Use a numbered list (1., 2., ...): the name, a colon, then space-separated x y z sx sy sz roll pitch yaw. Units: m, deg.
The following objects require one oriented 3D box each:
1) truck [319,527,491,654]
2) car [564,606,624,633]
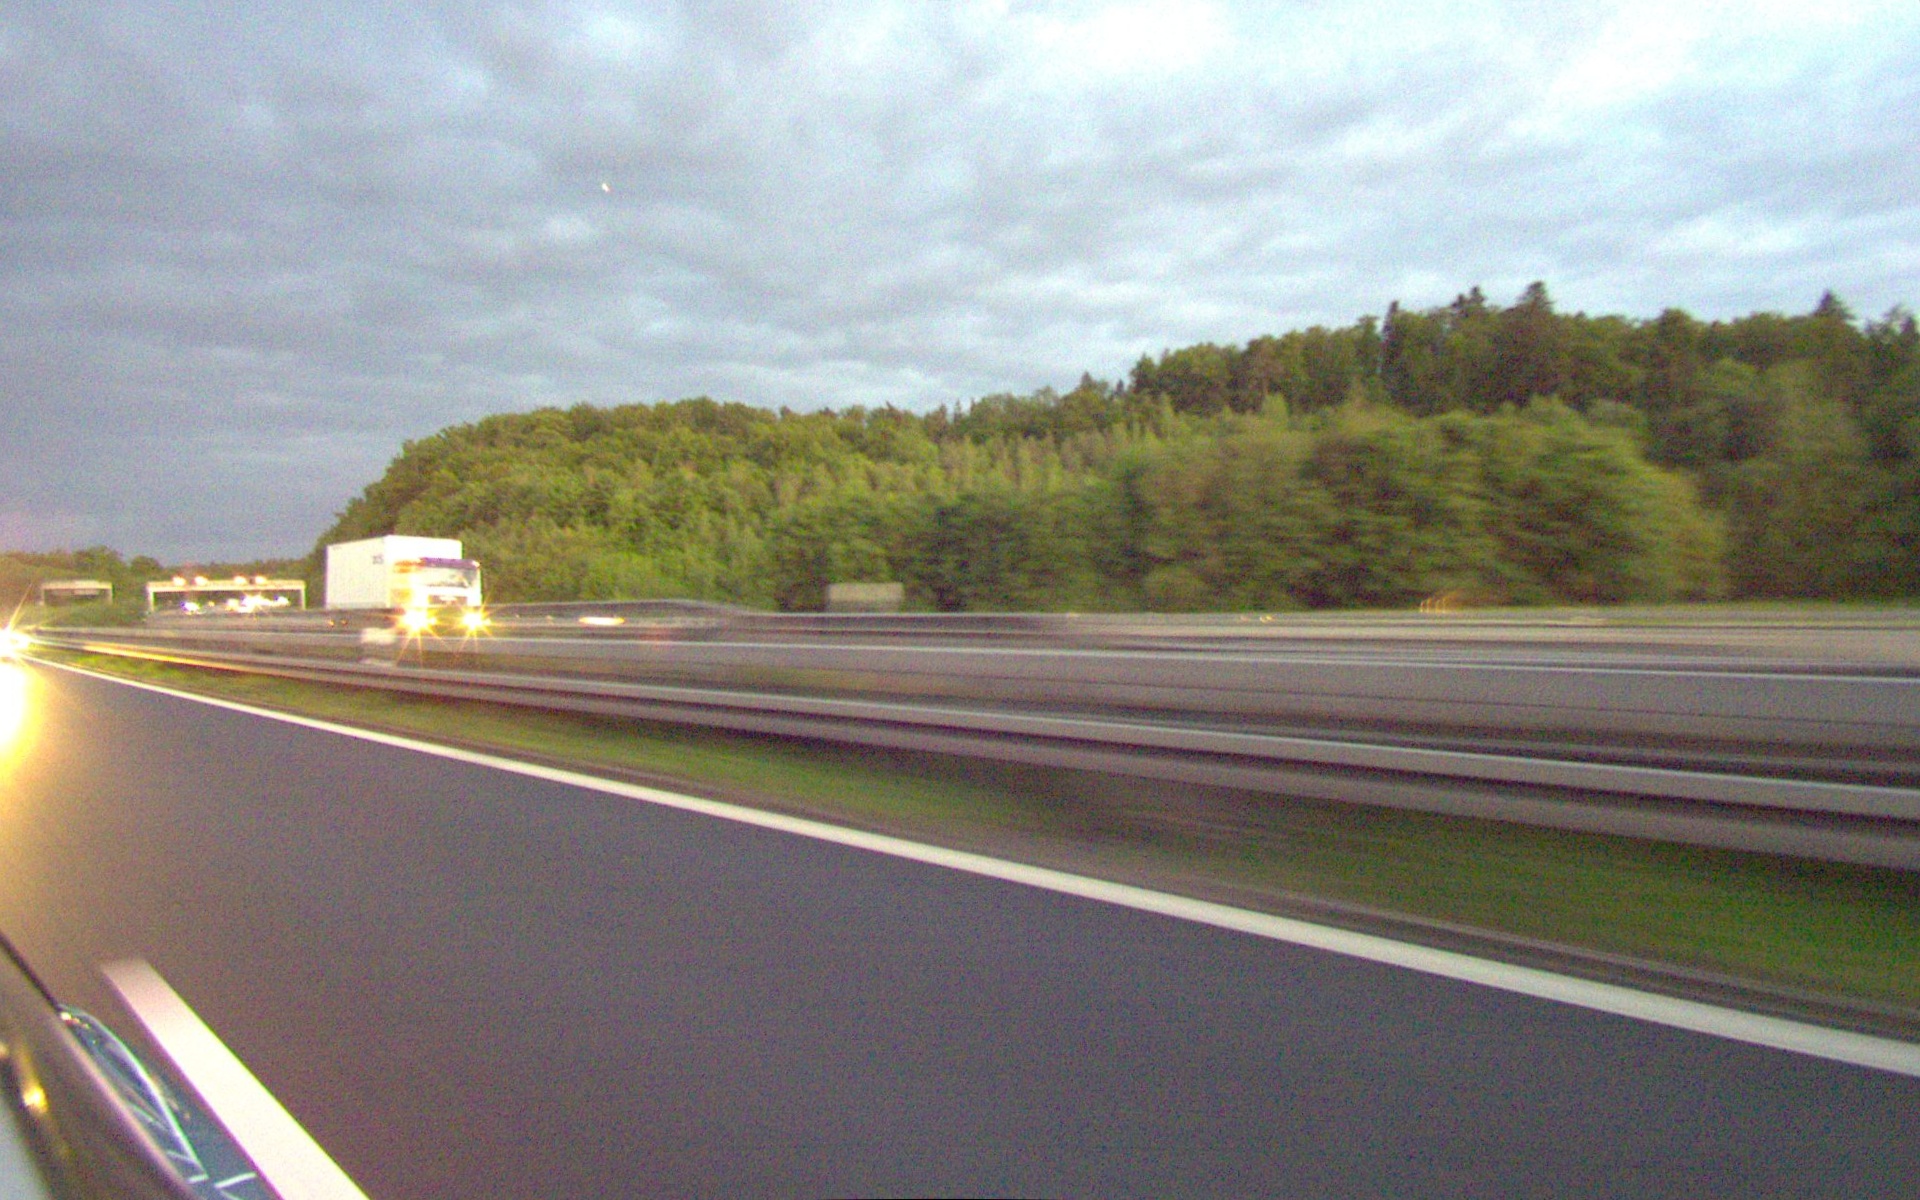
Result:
1. truck: -21.686 -0.292 39.150 9.893 4.334 3.004 -1 0 44
2. car: -22.635 1.180 62.570 4.000 1.631 1.872 -1 0 43
